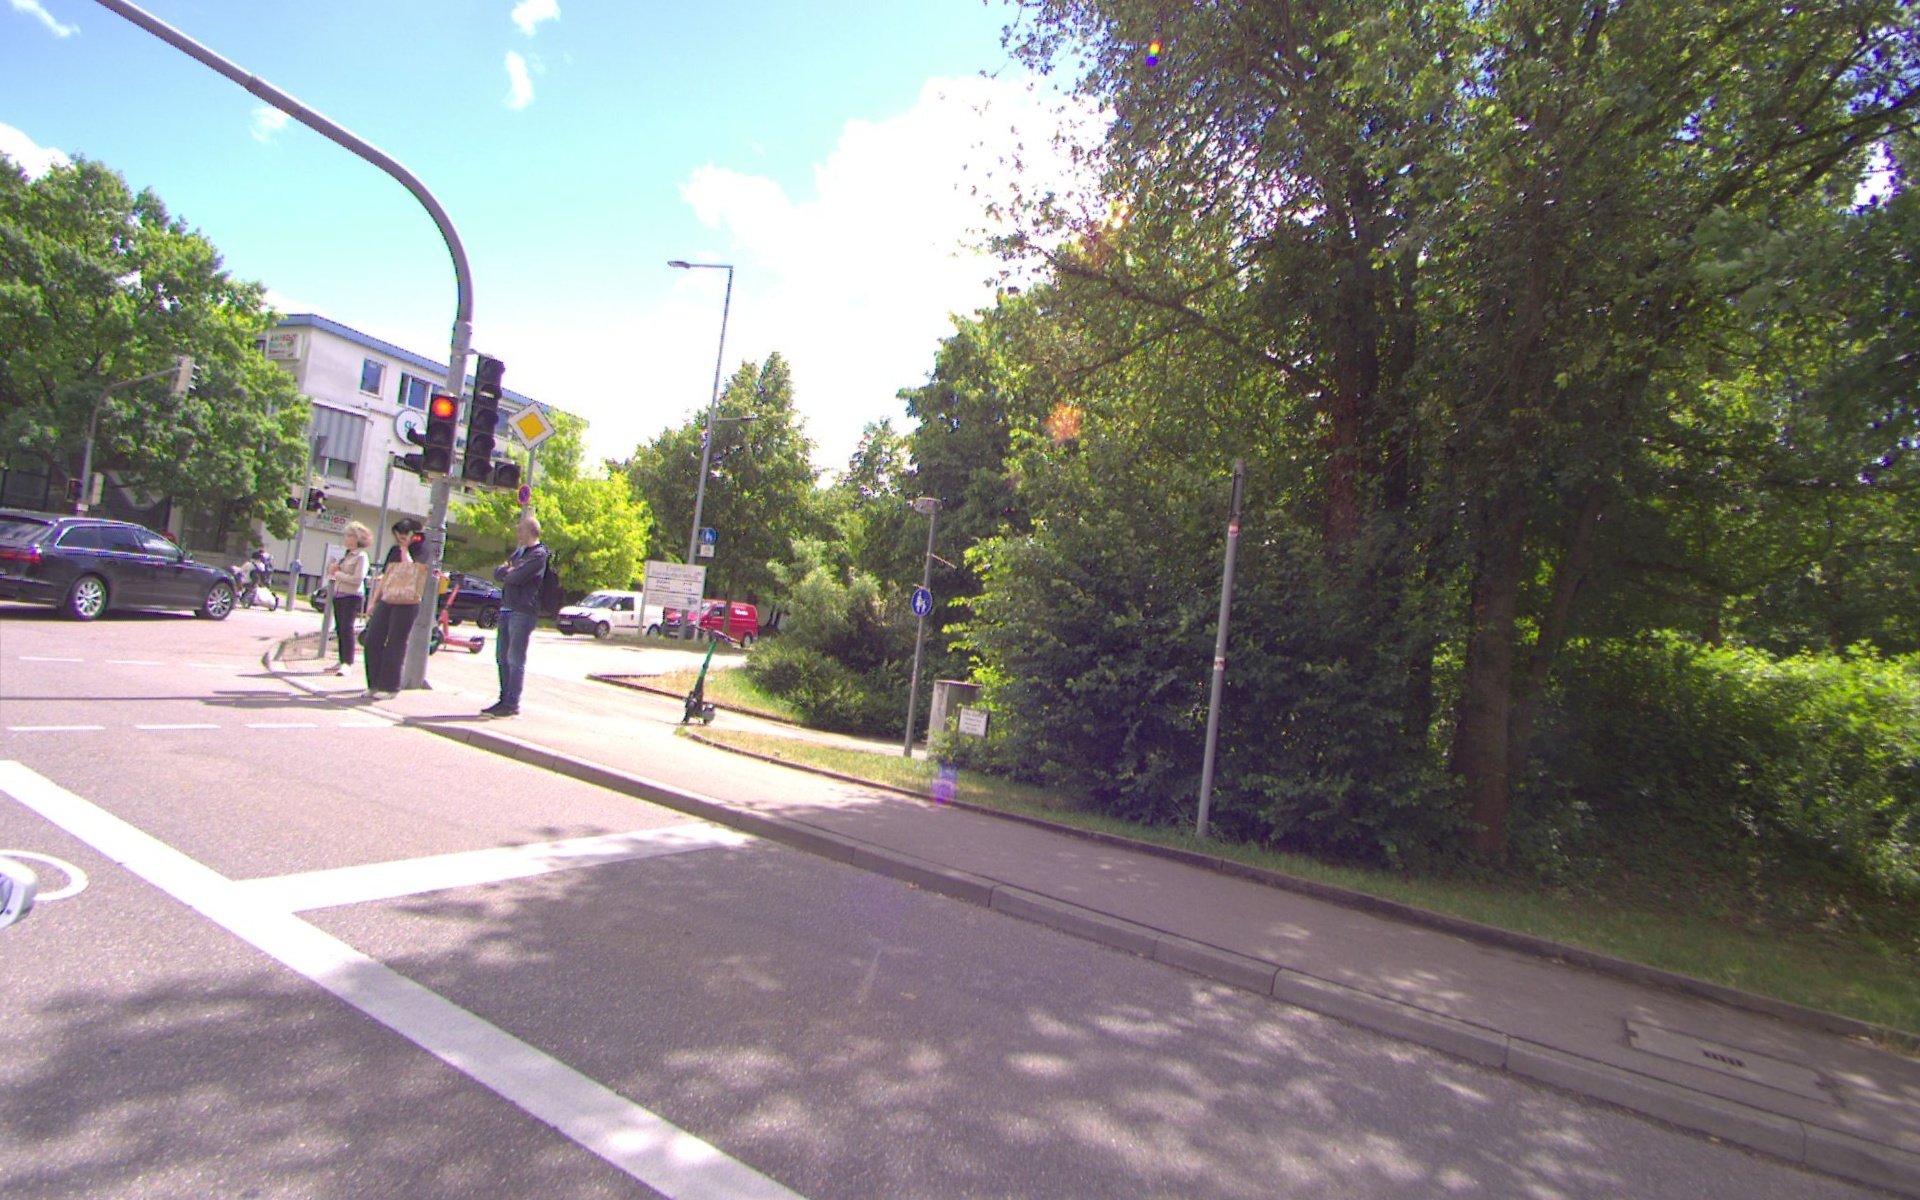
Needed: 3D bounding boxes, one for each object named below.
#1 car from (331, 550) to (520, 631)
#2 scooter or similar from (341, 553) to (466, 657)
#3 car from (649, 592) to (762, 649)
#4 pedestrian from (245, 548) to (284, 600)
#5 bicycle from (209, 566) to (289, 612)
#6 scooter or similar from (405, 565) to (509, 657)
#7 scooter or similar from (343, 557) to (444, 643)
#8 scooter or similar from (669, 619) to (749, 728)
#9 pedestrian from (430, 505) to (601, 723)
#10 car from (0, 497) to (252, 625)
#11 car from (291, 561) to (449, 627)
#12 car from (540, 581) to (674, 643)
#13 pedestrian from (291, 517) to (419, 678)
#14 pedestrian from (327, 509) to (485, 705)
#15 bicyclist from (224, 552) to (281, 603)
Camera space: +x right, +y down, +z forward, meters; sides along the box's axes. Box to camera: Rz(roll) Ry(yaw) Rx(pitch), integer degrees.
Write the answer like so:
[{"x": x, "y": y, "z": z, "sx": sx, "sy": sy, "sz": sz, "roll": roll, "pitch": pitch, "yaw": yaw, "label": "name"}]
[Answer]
[{"x": -15.812, "y": -0.215, "z": 30.028, "sx": 1.964, "sy": 1.737, "sz": 4.574, "roll": 7, "pitch": -2, "yaw": 25, "label": "car"}, {"x": -7.884, "y": 0.096, "z": 14.286, "sx": 0.455, "sy": 1.292, "sz": 1.344, "roll": 8, "pitch": -1, "yaw": 38, "label": "scooter or similar"}, {"x": -10.618, "y": 0.900, "z": 42.364, "sx": 1.964, "sy": 1.885, "sz": 4.822, "roll": 5, "pitch": -3, "yaw": 23, "label": "car"}, {"x": -24.360, "y": -0.903, "z": 35.243, "sx": 0.895, "sy": 1.662, "sz": 0.767, "roll": 6, "pitch": -2, "yaw": 42, "label": "pedestrian"}, {"x": -16.483, "y": -0.253, "z": 23.311, "sx": 1.778, "sy": 0.828, "sz": 0.793, "roll": 6, "pitch": -2, "yaw": 32, "label": "bicycle"}, {"x": -7.935, "y": 0.190, "z": 15.918, "sx": 0.547, "sy": 1.254, "sz": 1.231, "roll": 8, "pitch": -3, "yaw": 23, "label": "scooter or similar"}, {"x": -8.945, "y": 0.026, "z": 15.950, "sx": 0.533, "sy": 1.168, "sz": 1.362, "roll": 9, "pitch": -3, "yaw": 7, "label": "scooter or similar"}, {"x": -3.348, "y": 1.004, "z": 13.533, "sx": 0.706, "sy": 1.287, "sz": 1.243, "roll": 10, "pitch": -7, "yaw": -7, "label": "scooter or similar"}, {"x": -4.332, "y": 0.155, "z": 9.844, "sx": 0.881, "sy": 1.964, "sz": 0.968, "roll": 7, "pitch": -1, "yaw": 28, "label": "pedestrian"}, {"x": -13.139, "y": -0.544, "z": 15.079, "sx": 1.965, "sy": 1.571, "sz": 4.521, "roll": 7, "pitch": -2, "yaw": -5, "label": "car"}, {"x": -19.085, "y": -0.158, "z": 32.748, "sx": 1.963, "sy": 1.573, "sz": 3.923, "roll": 7, "pitch": -2, "yaw": 21, "label": "car"}, {"x": -12.948, "y": 0.497, "z": 37.231, "sx": 1.963, "sy": 1.737, "sz": 4.576, "roll": 7, "pitch": -2, "yaw": 23, "label": "car"}, {"x": -6.940, "y": -0.030, "z": 11.541, "sx": 0.950, "sy": 1.694, "sz": 0.860, "roll": 7, "pitch": -1, "yaw": -43, "label": "pedestrian"}, {"x": -5.510, "y": 0.086, "z": 10.048, "sx": 0.758, "sy": 1.787, "sz": 0.936, "roll": 7, "pitch": 0, "yaw": 20, "label": "pedestrian"}, {"x": -16.348, "y": -0.524, "z": 23.255, "sx": 0.625, "sy": 1.034, "sz": 0.793, "roll": 7, "pitch": -2, "yaw": 31, "label": "bicyclist"}]
